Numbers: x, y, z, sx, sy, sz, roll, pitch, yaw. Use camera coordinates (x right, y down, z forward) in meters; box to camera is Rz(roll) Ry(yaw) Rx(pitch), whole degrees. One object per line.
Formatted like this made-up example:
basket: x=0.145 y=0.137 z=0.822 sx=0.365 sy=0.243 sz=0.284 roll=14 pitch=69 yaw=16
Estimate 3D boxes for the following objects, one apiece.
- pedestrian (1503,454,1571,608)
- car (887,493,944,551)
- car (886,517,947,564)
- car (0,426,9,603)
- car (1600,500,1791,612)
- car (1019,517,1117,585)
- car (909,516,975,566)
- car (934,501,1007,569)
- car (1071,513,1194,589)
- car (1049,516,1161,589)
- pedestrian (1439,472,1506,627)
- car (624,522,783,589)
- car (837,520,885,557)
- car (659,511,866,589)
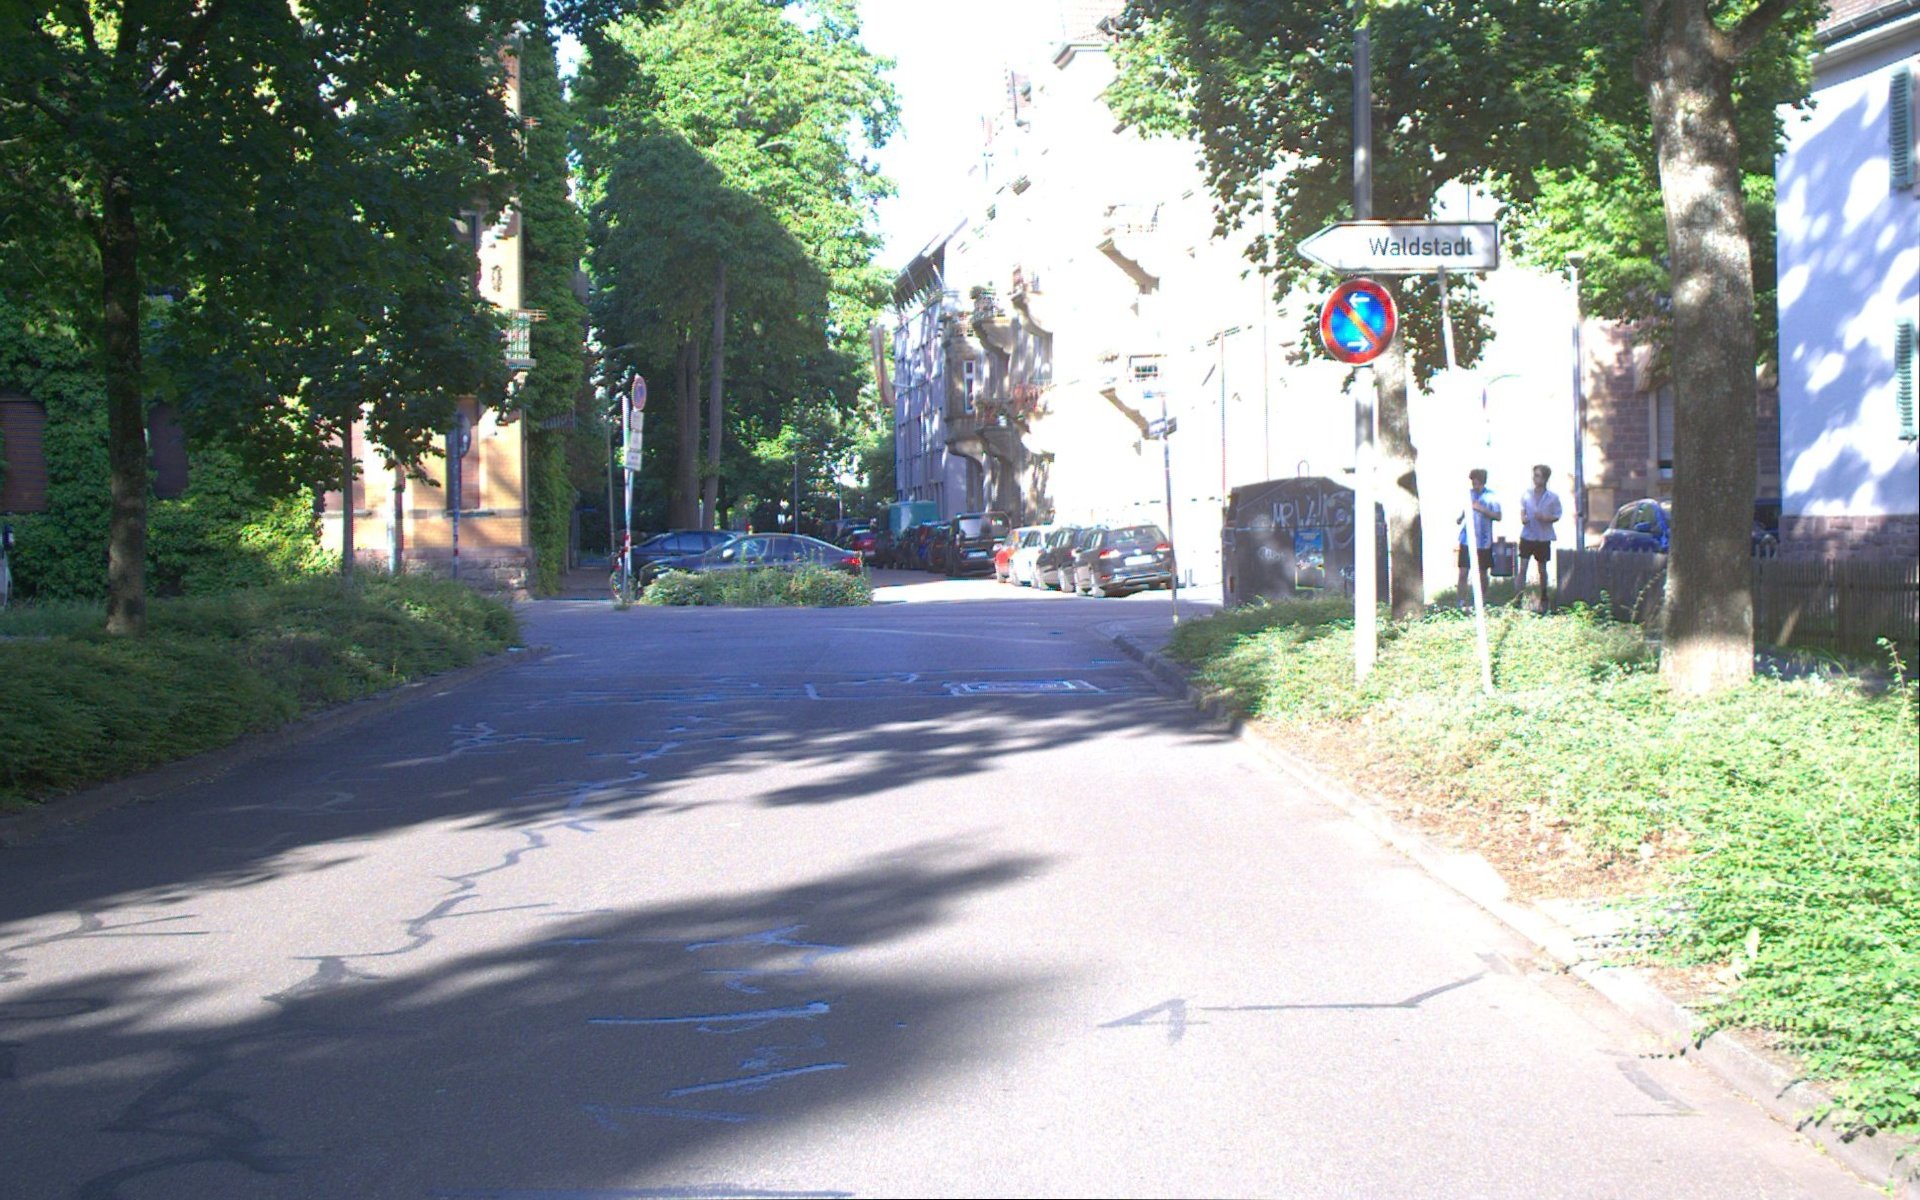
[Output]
pedestrian: x=7.065 y=-0.850 z=42.131 sx=0.615 sy=1.864 sz=0.695 roll=1 pitch=1 yaw=-7
car: x=-1.620 y=-2.836 z=124.234 sx=1.811 sy=2.043 sz=4.001 roll=1 pitch=1 yaw=-4
car: x=-1.465 y=-1.986 z=114.036 sx=1.811 sy=1.496 sz=4.001 roll=1 pitch=1 yaw=-4
car: x=-14.325 y=-1.184 z=47.181 sx=1.993 sy=2.499 sz=4.001 roll=0 pitch=1 yaw=-9
car: x=10.803 y=-0.667 z=50.737 sx=1.993 sy=1.579 sz=3.640 roll=0 pitch=1 yaw=-1
car: x=2.558 y=-1.201 z=82.346 sx=1.892 sy=1.568 sz=4.001 roll=1 pitch=1 yaw=-5
car: x=-0.585 y=-1.856 z=107.497 sx=1.811 sy=1.496 sz=4.001 roll=1 pitch=1 yaw=-4
car: x=0.281 y=-1.892 z=99.352 sx=1.811 sy=1.919 sz=4.001 roll=1 pitch=1 yaw=-4
car: x=3.517 y=-1.032 z=70.690 sx=1.811 sy=1.496 sz=4.001 roll=-1 pitch=1 yaw=-7
car: x=3.206 y=-1.086 z=76.753 sx=1.993 sy=1.568 sz=4.001 roll=1 pitch=1 yaw=-5
pedestrian: x=6.213 y=-0.617 z=41.718 sx=0.615 sy=1.864 sz=0.695 roll=1 pitch=1 yaw=-7
car: x=-5.978 y=-1.037 z=79.938 sx=3.586 sy=1.505 sz=1.500 roll=1 pitch=1 yaw=-8
car: x=-4.100 y=-2.543 z=141.219 sx=1.811 sy=1.496 sz=4.001 roll=1 pitch=1 yaw=-4
car: x=-3.963 y=-0.998 z=68.678 sx=3.986 sy=1.496 sz=1.818 roll=1 pitch=1 yaw=-8
